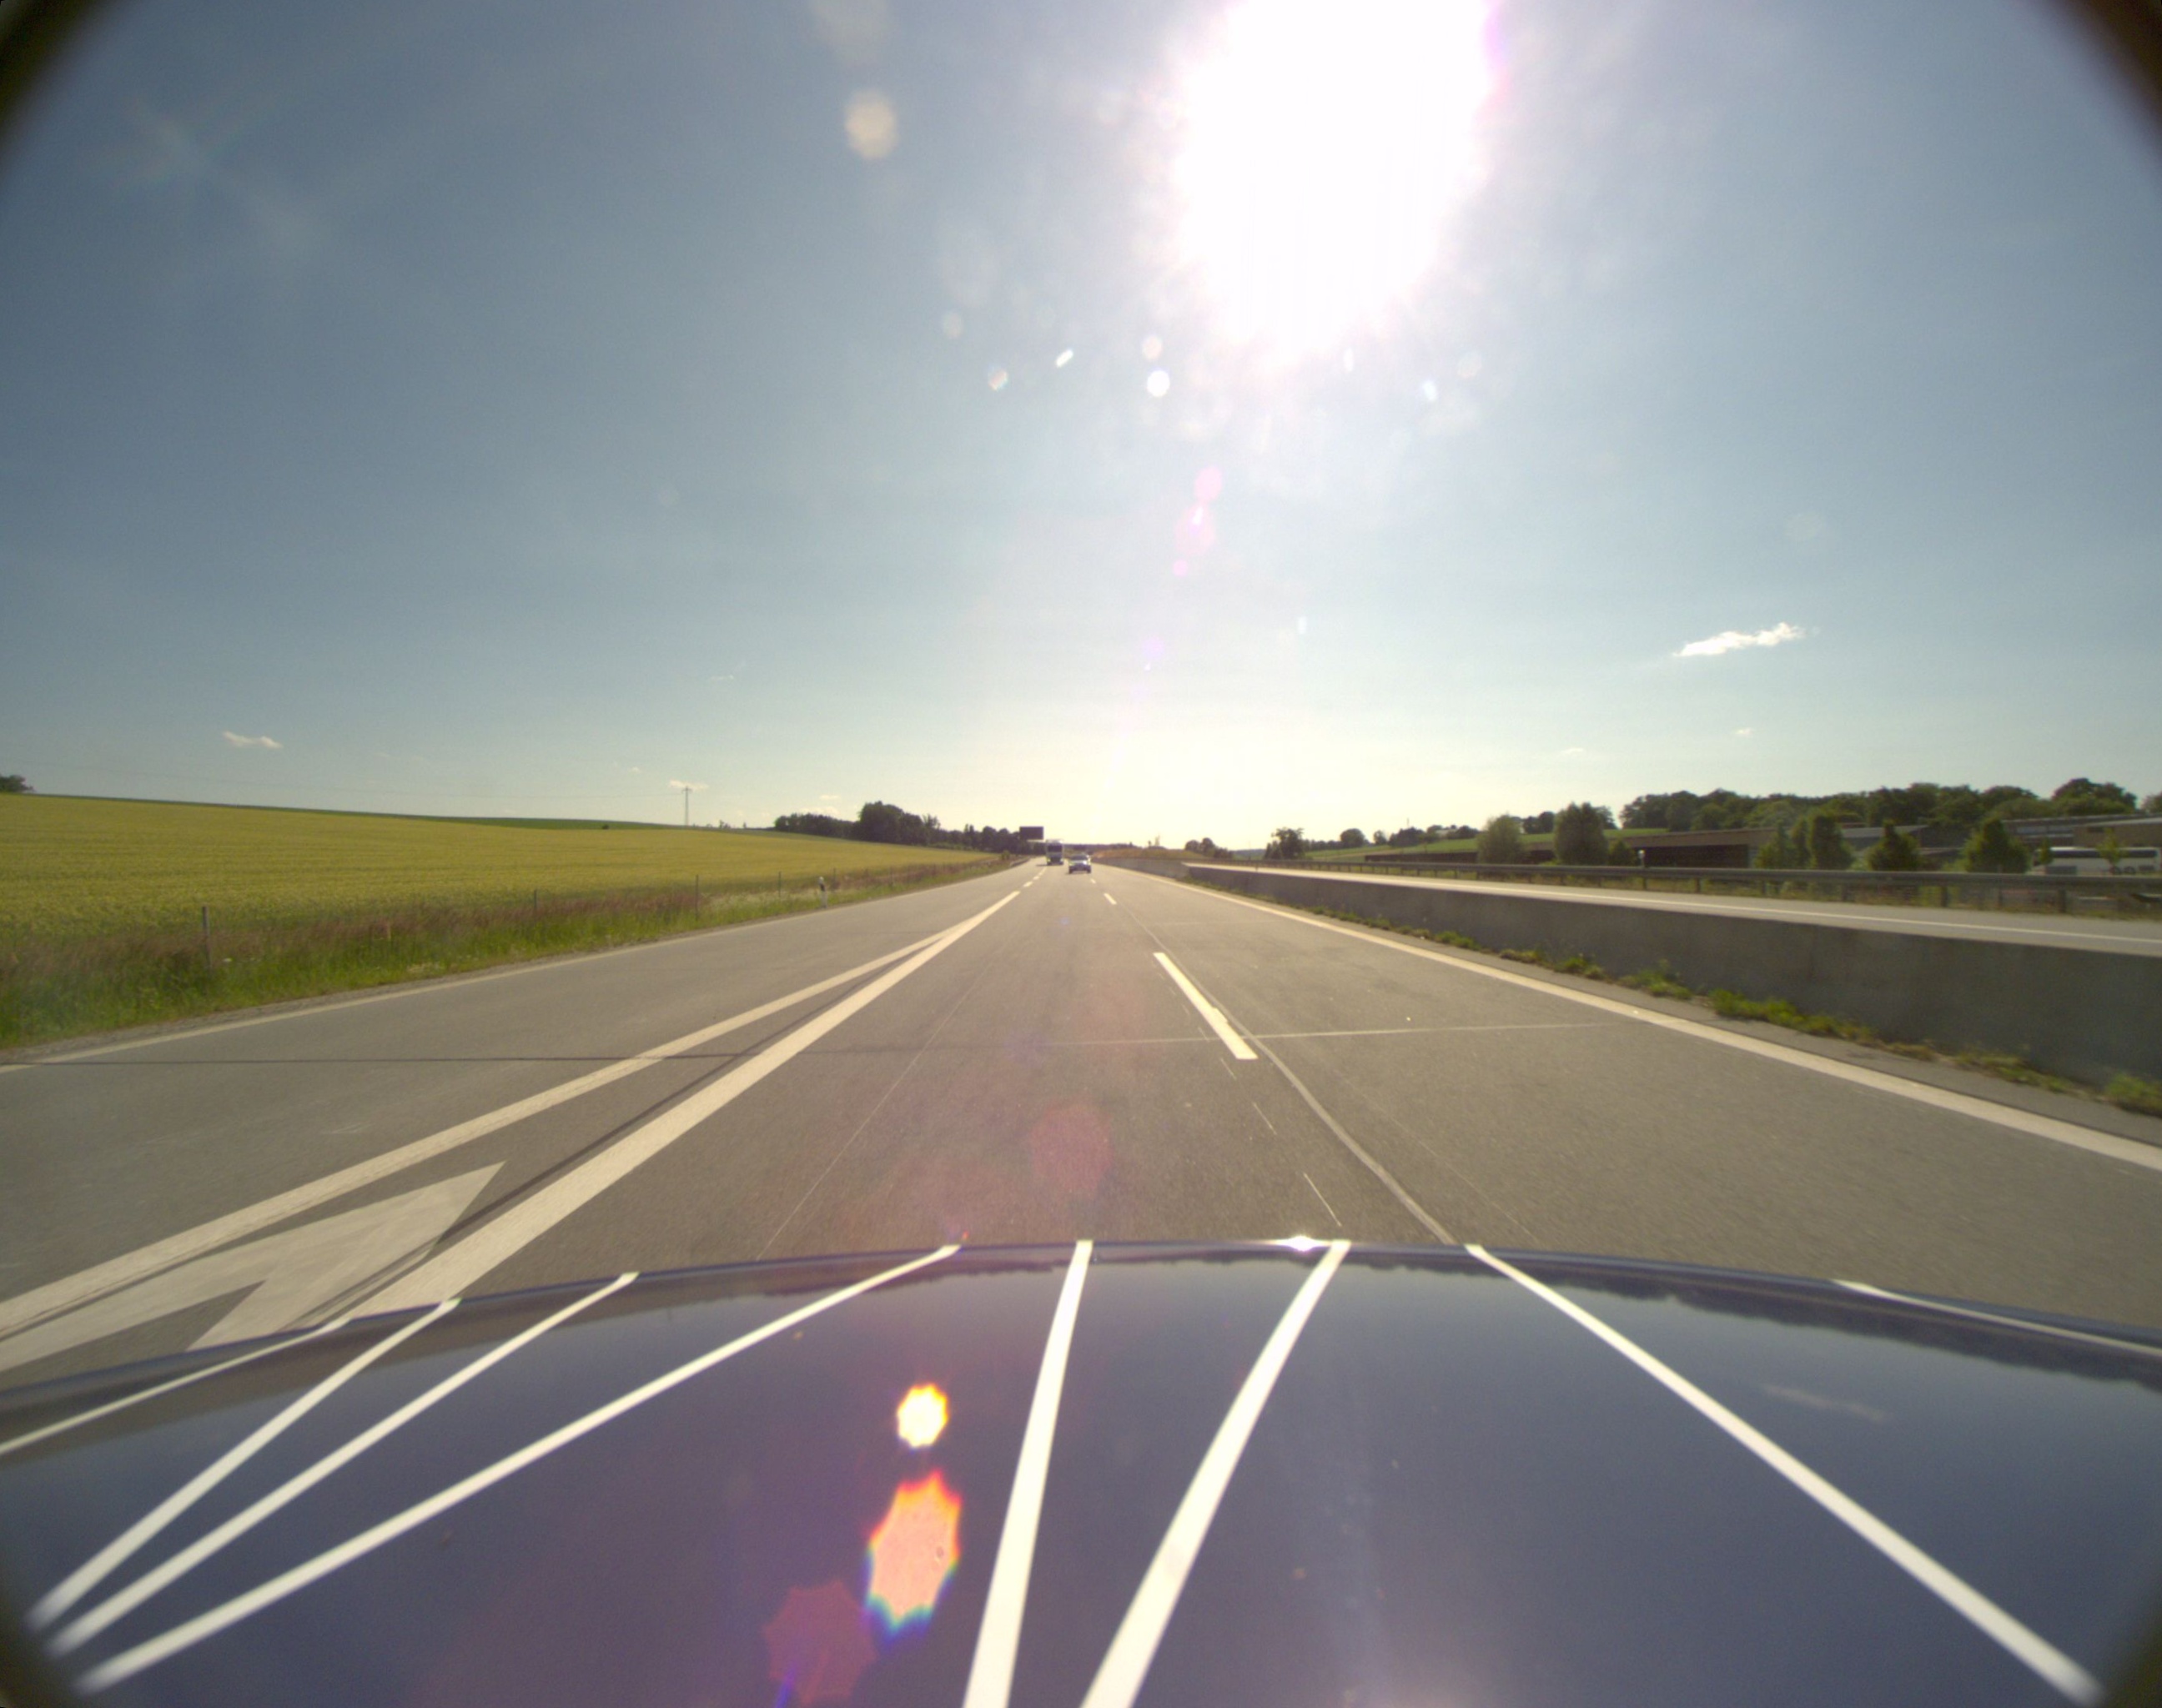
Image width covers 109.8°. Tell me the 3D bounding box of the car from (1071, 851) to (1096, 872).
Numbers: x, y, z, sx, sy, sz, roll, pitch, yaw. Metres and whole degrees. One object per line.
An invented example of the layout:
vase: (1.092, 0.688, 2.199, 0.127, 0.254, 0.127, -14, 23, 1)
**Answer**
car: (0.241, 0.603, 63.758, 1.891, 1.565, 3.792, -3, 0, 2)

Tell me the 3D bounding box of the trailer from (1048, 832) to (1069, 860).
trailer: (-3.849, -1.340, 125.709, 3.185, 4.269, 15.454, 0, 0, -2)

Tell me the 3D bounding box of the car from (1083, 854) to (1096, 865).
car: (1.345, 0.878, 118.704, 1.899, 1.560, 4.000, -2, 1, 1)

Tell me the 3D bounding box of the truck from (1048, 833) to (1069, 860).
truck: (-3.529, -1.114, 117.071, 3.091, 3.991, 6.187, 0, 1, -2)
